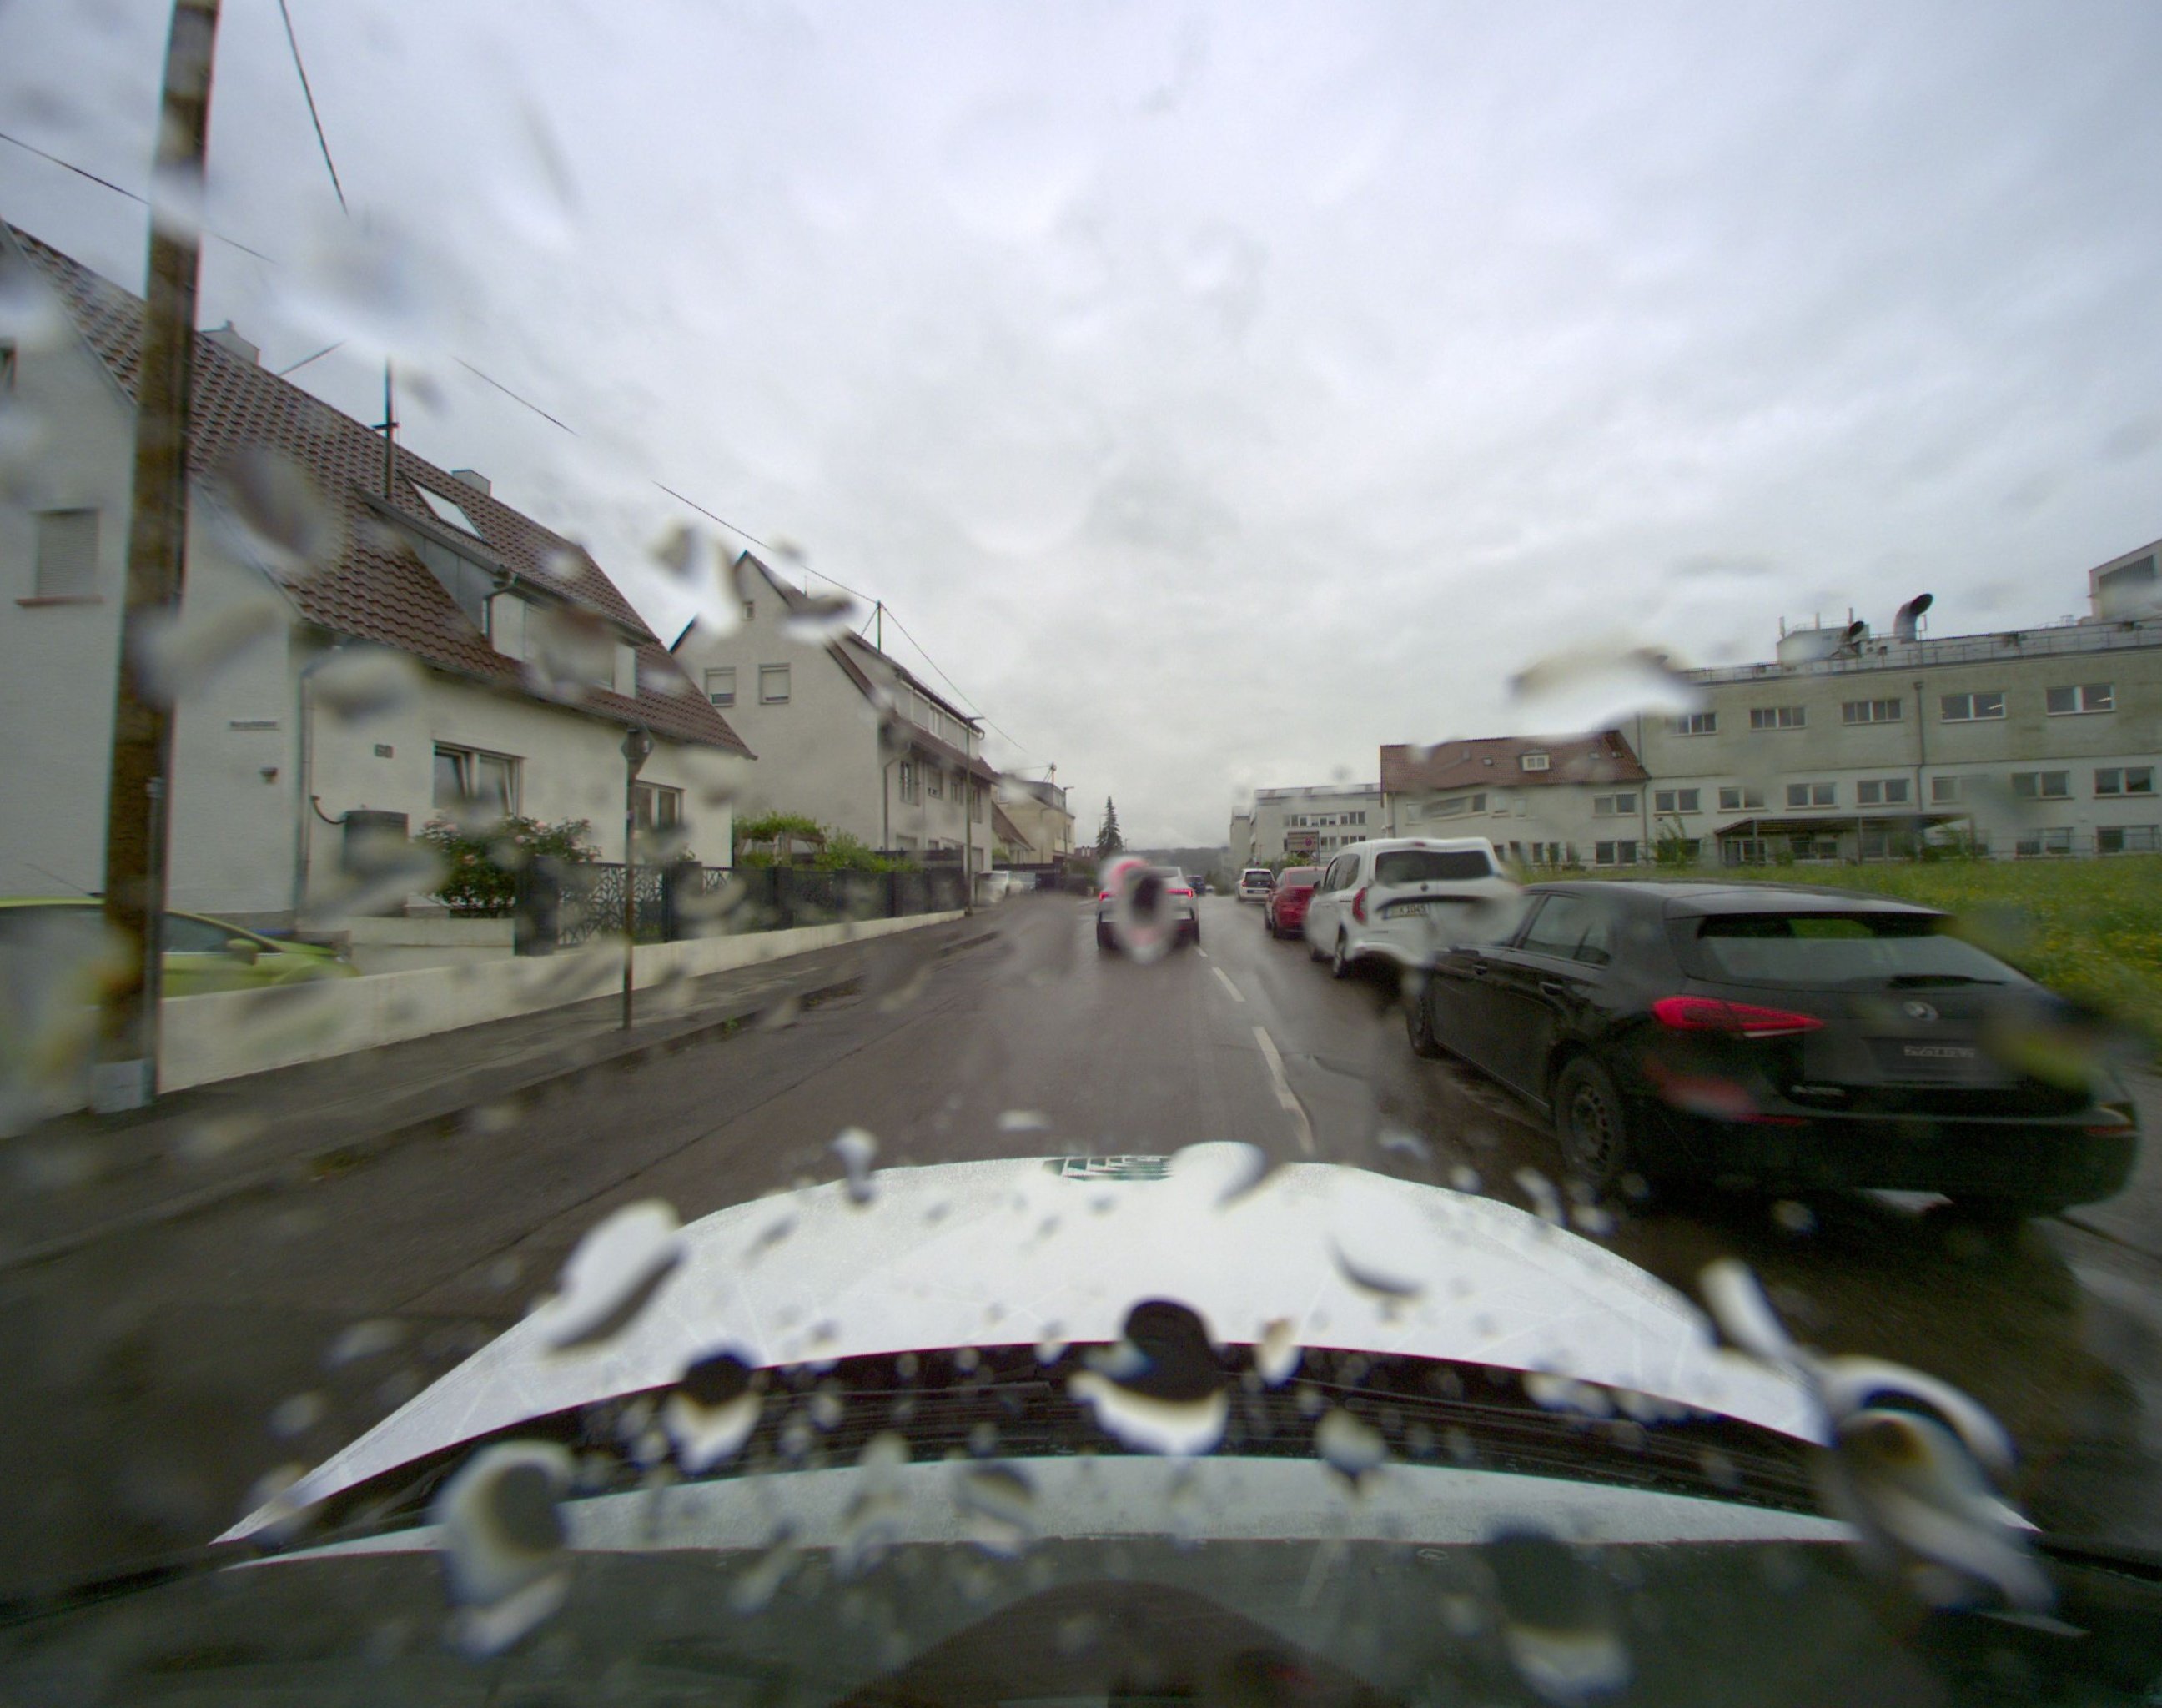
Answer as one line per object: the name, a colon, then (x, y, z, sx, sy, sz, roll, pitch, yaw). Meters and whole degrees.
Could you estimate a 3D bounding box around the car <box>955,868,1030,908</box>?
car: (-3.692, 1.406, 34.815, 1.982, 1.510, 4.905, 2, -1, 8)

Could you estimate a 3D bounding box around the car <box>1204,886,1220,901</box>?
car: (18.655, 5.669, 116.149, 1.984, 2.014, 4.003, -2, -5, 4)

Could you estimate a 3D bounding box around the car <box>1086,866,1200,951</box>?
car: (1.432, 1.023, 16.924, 1.982, 1.502, 4.681, -1, -1, 9)

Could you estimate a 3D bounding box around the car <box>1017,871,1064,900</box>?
car: (-2.015, 1.580, 42.042, 1.819, 1.368, 4.574, 2, -1, 4)

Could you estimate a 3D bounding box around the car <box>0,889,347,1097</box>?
car: (-8.550, 1.048, 6.610, 1.768, 1.467, 3.464, -1, -2, 8)

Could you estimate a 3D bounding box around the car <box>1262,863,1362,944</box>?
car: (4.985, 0.997, 18.114, 1.632, 1.575, 4.655, 0, -1, 9)

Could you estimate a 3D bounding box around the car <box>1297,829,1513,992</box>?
car: (4.246, 0.677, 11.478, 1.759, 1.825, 4.583, 0, -1, 7)

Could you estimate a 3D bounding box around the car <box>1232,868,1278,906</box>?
car: (7.526, 1.412, 35.556, 1.672, 1.557, 3.681, 0, -1, 7)

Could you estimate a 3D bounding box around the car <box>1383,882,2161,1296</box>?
car: (3.286, 0.873, 5.002, 1.759, 1.336, 4.329, 0, -1, 7)

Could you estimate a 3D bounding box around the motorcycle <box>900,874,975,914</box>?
motorcycle: (-4.906, 1.343, 27.911, 2.349, 1.273, 0.737, 1, -1, 8)
